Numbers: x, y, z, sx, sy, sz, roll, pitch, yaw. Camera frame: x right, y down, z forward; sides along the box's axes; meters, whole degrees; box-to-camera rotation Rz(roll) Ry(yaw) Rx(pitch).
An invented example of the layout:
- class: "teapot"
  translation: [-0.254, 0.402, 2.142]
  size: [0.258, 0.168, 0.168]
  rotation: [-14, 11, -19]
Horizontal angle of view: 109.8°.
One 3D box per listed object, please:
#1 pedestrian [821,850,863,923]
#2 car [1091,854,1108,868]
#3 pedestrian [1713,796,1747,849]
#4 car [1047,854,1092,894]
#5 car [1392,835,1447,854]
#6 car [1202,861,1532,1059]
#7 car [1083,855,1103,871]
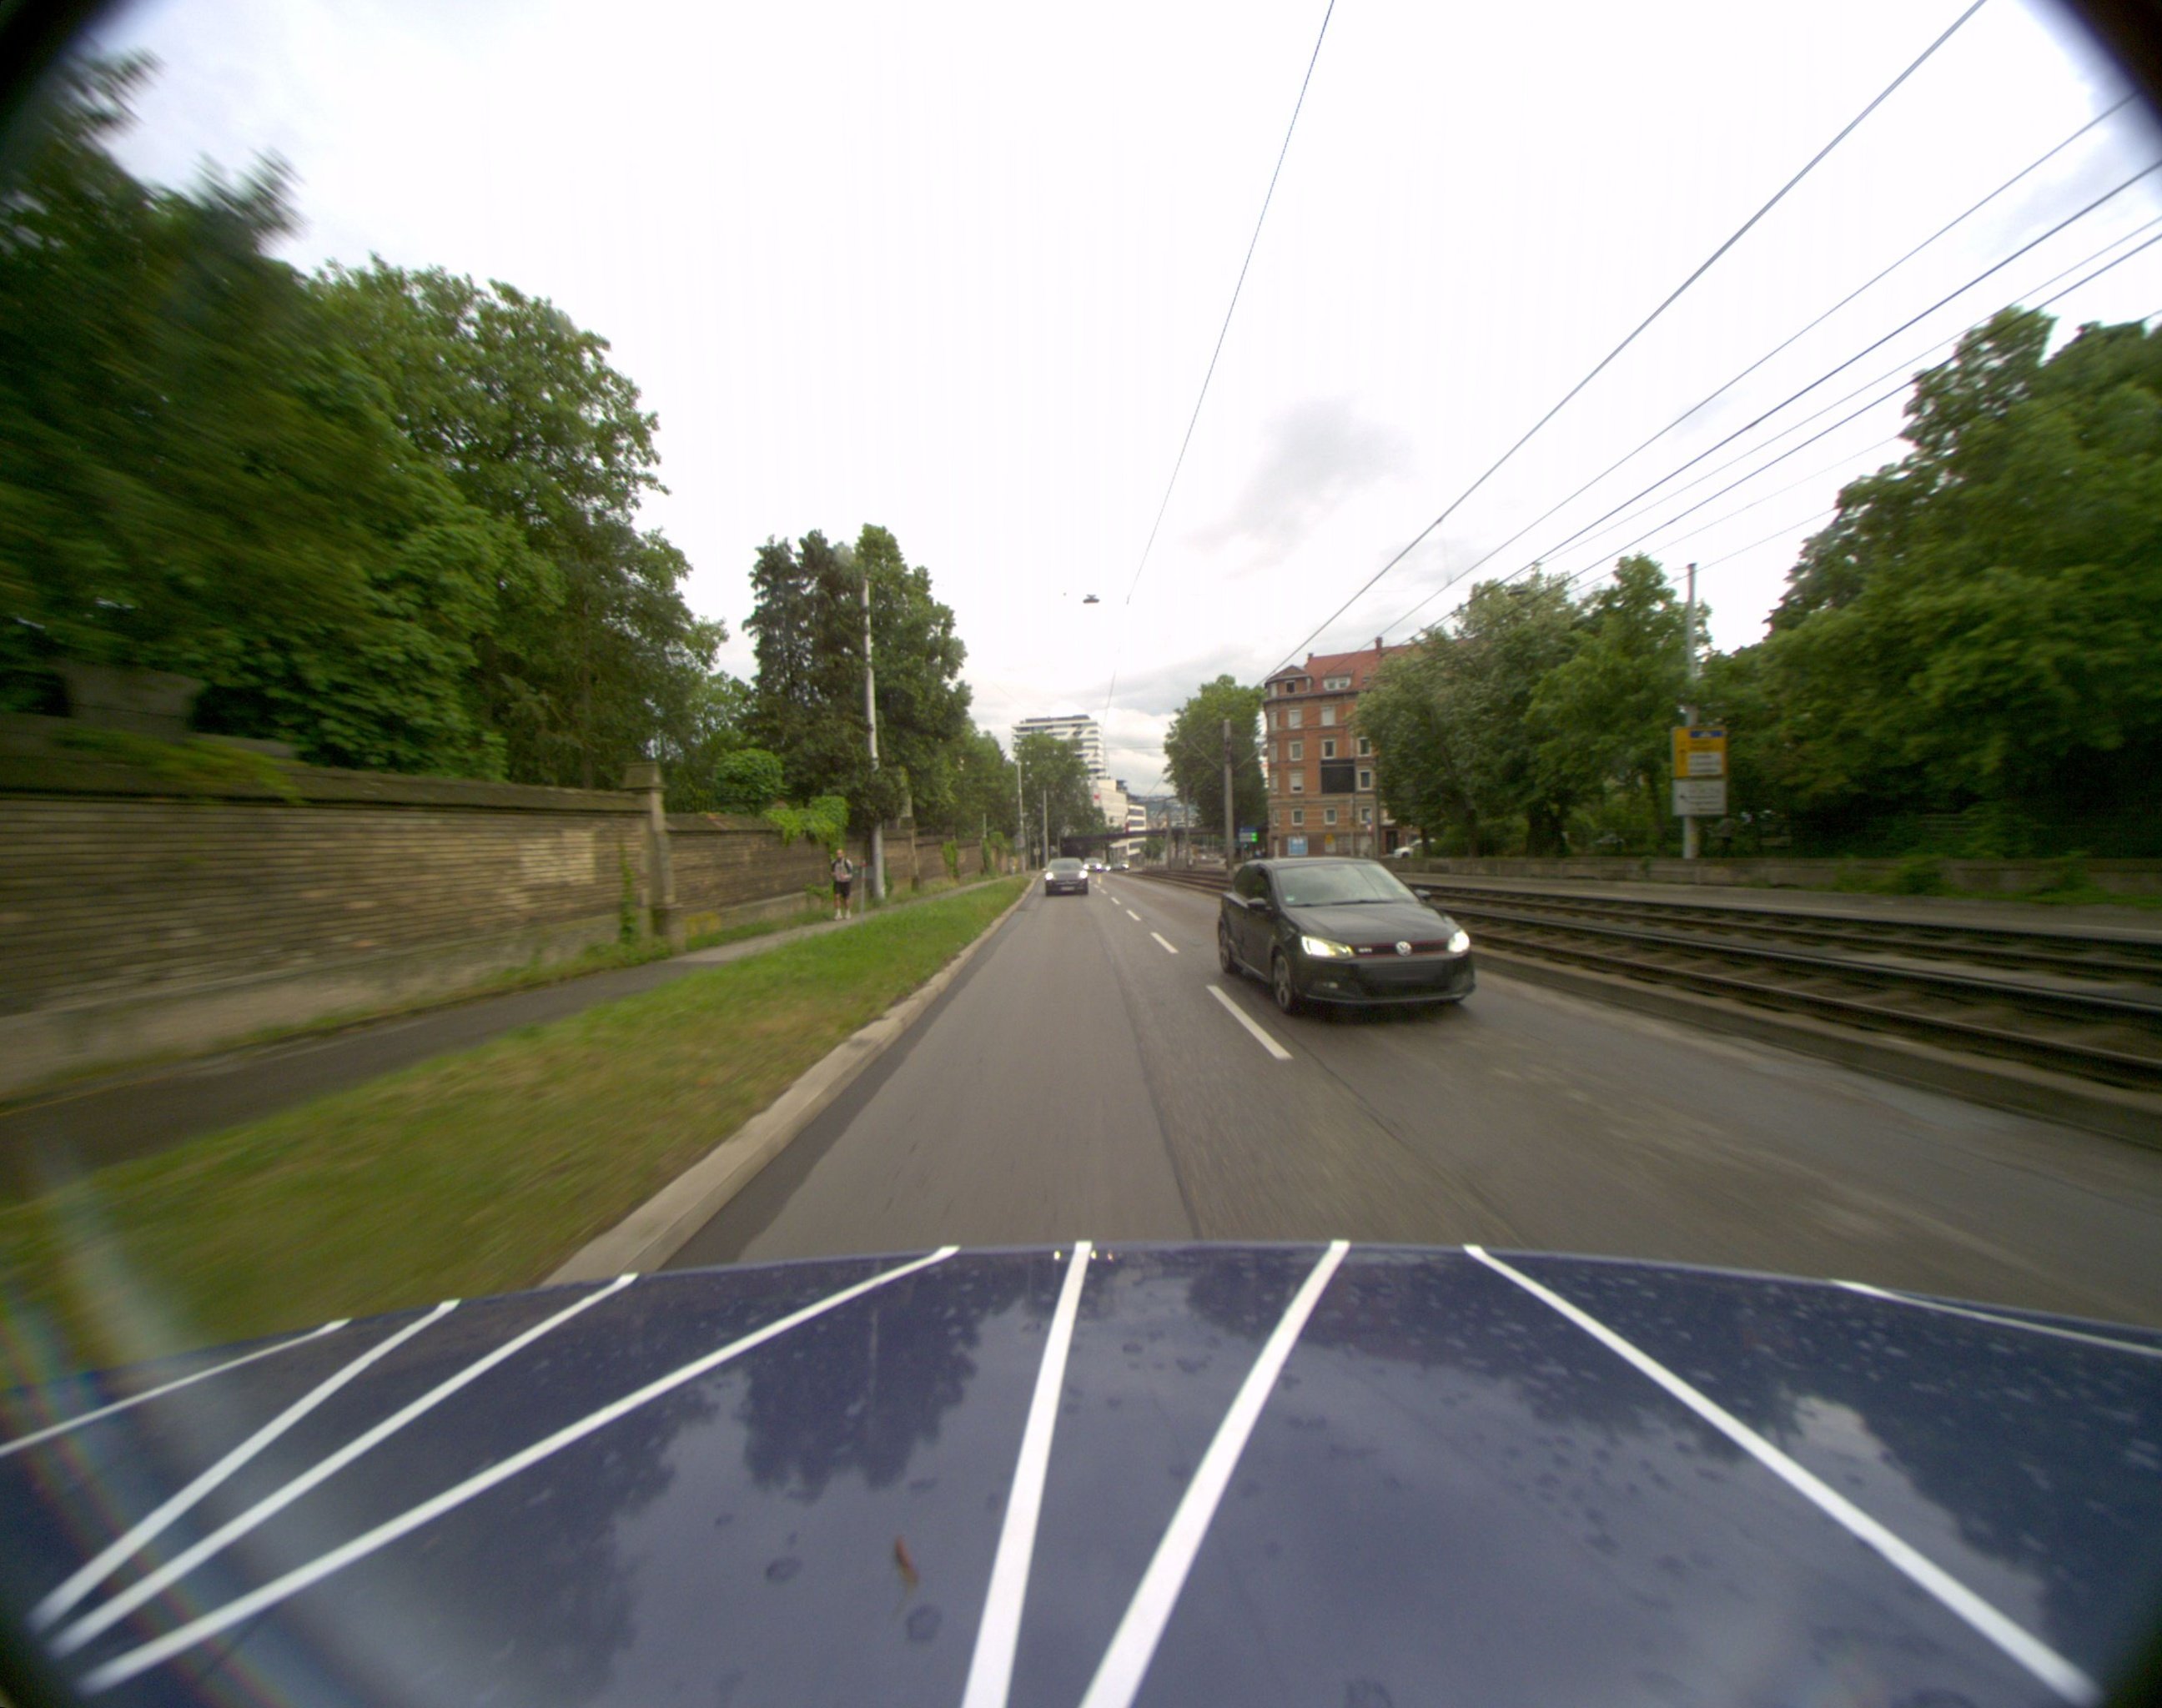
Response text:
- class: "pedestrian"
  translation: [-5.979, 0.799, 19.078]
  size: [0.710, 1.769, 0.901]
  rotation: [-2, 1, -2]
- class: "car"
  translation: [2.102, 0.746, 84.424]
  size: [1.735, 1.368, 4.000]
  rotation: [-3, 0, 3]
- class: "pedestrian"
  translation: [23.746, -1.137, 27.793]
  size: [0.597, 1.892, 0.654]
  rotation: [-3, 1, -2]
- class: "car"
  translation: [-0.483, 0.772, 31.062]
  size: [1.658, 1.483, 3.829]
  rotation: [-2, 0, -1]
- class: "car"
  translation: [31.248, -0.894, 70.266]
  size: [4.428, 1.588, 1.844]
  rotation: [-2, 0, 21]
- class: "car"
  translation: [2.591, 0.851, 7.997]
  size: [1.799, 1.477, 3.963]
  rotation: [-2, 0, -3]
- class: "car"
  translation: [1.103, 0.812, 67.949]
  size: [1.640, 1.368, 3.575]
  rotation: [-3, -1, 2]
